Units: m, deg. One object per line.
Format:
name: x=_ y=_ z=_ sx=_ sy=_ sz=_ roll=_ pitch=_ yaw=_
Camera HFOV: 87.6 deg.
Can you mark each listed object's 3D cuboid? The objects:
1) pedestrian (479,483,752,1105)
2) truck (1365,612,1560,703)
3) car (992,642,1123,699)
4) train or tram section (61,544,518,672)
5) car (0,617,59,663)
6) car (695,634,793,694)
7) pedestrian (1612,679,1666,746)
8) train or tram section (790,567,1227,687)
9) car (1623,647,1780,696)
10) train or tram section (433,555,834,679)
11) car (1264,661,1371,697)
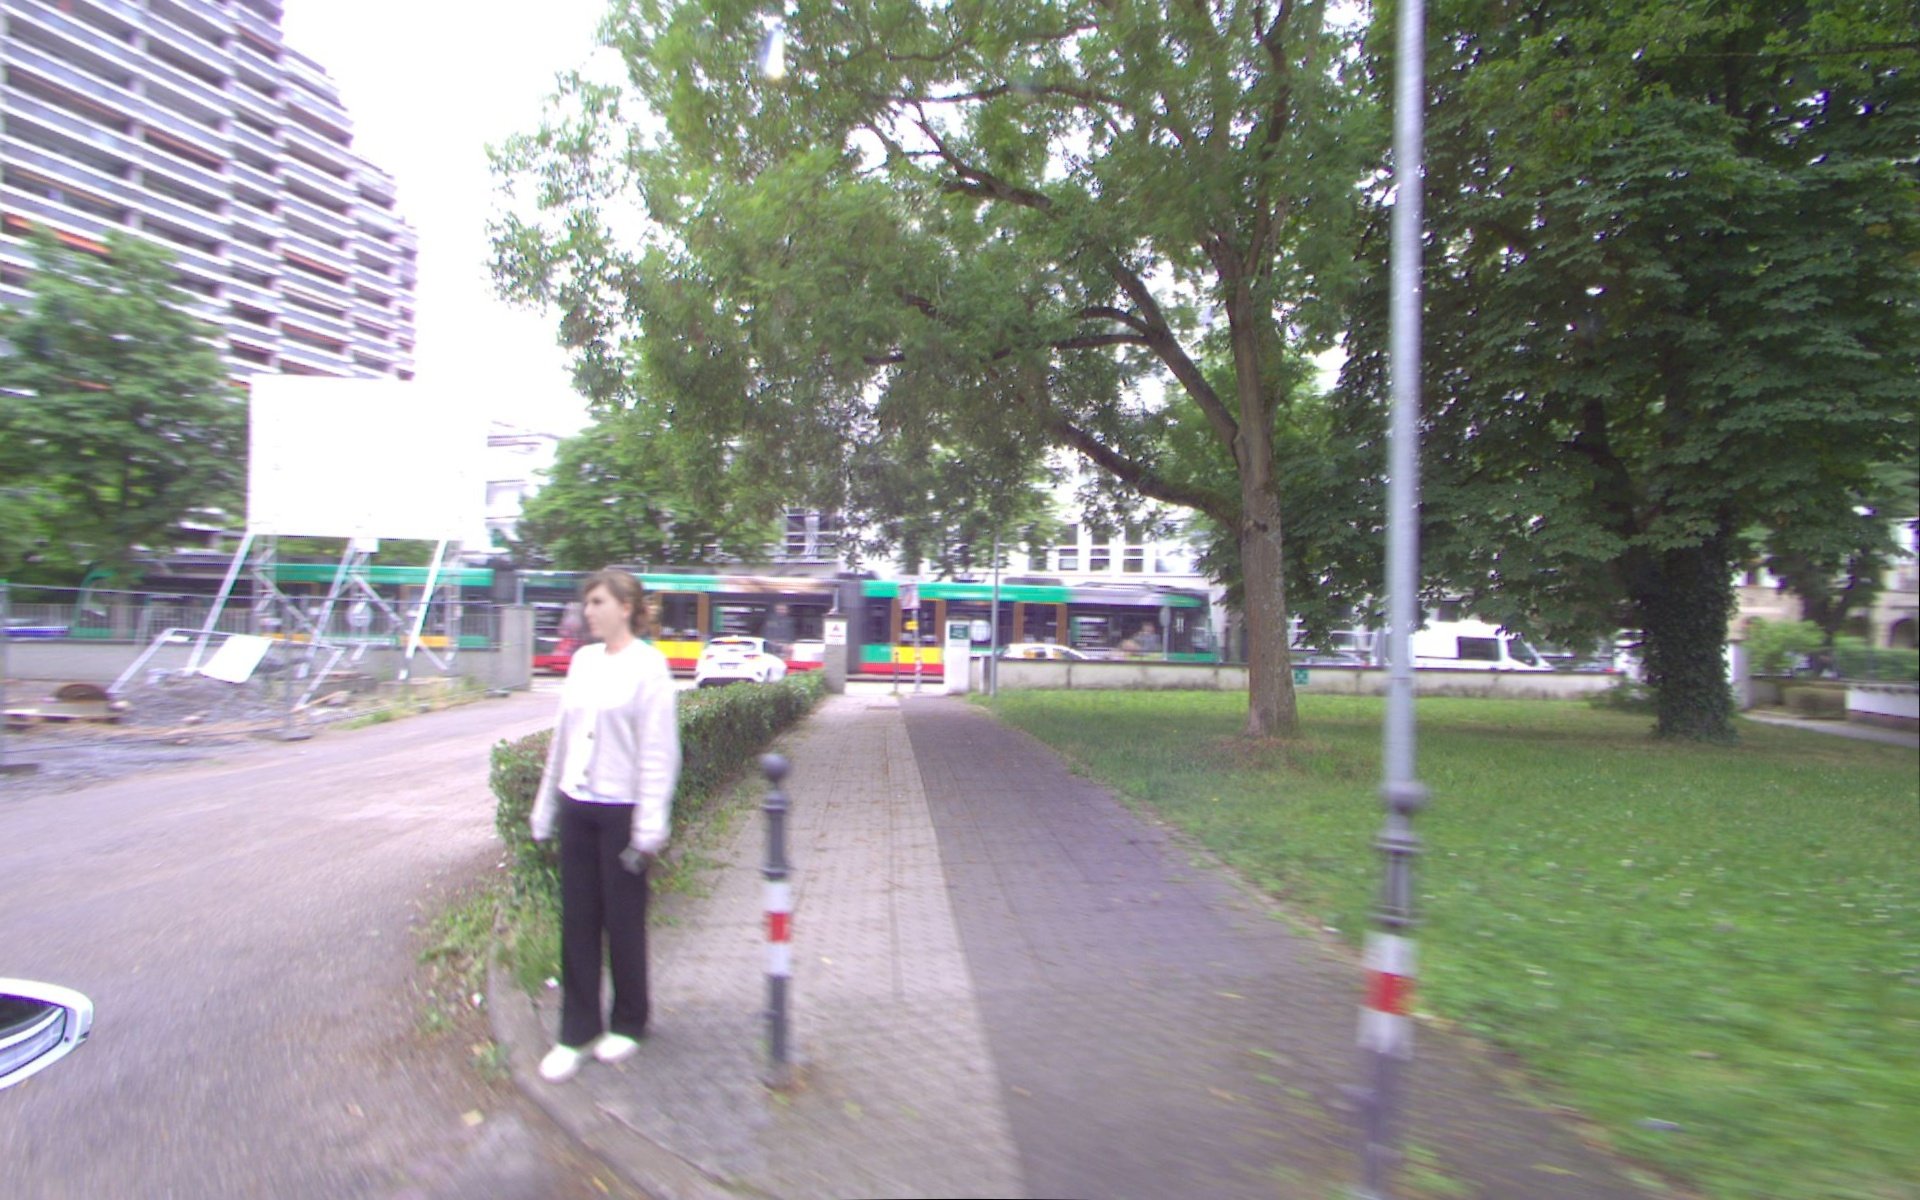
pedestrian: x=-1.178 y=0.579 z=3.384 sx=0.740 sy=1.804 sz=0.660 roll=2 pitch=-1 yaw=-29
truck: x=15.095 y=1.725 z=30.246 sx=4.833 sy=2.578 sz=2.170 roll=1 pitch=-1 yaw=-6
car: x=2.784 y=2.033 z=29.063 sx=3.525 sy=1.519 sz=1.666 roll=2 pitch=-2 yaw=-5
train or tram section: x=-20.974 y=0.327 z=31.992 sx=12.218 sy=3.660 sz=2.668 roll=1 pitch=-1 yaw=-6
car: x=-33.879 y=1.336 z=34.543 sx=3.923 sy=1.538 sz=1.603 roll=1 pitch=-1 yaw=-6
car: x=-5.653 y=1.723 z=26.663 sx=1.746 sy=1.449 sz=3.984 roll=1 pitch=-4 yaw=0
pedestrian: x=18.619 y=3.076 z=27.470 sx=0.938 sy=1.740 sz=0.808 roll=2 pitch=-1 yaw=-12
train or tram section: x=1.631 y=0.973 z=34.297 sx=14.487 sy=3.660 sz=2.668 roll=1 pitch=-1 yaw=-6
car: x=22.811 y=2.193 z=30.856 sx=3.739 sy=1.371 sz=1.812 roll=1 pitch=-2 yaw=-9
train or tram section: x=-10.371 y=0.627 z=33.045 sx=12.218 sy=3.660 sz=2.668 roll=1 pitch=-1 yaw=-6
car: x=16.543 y=3.638 z=46.466 sx=4.440 sy=1.491 sz=1.409 roll=-1 pitch=-5 yaw=37
